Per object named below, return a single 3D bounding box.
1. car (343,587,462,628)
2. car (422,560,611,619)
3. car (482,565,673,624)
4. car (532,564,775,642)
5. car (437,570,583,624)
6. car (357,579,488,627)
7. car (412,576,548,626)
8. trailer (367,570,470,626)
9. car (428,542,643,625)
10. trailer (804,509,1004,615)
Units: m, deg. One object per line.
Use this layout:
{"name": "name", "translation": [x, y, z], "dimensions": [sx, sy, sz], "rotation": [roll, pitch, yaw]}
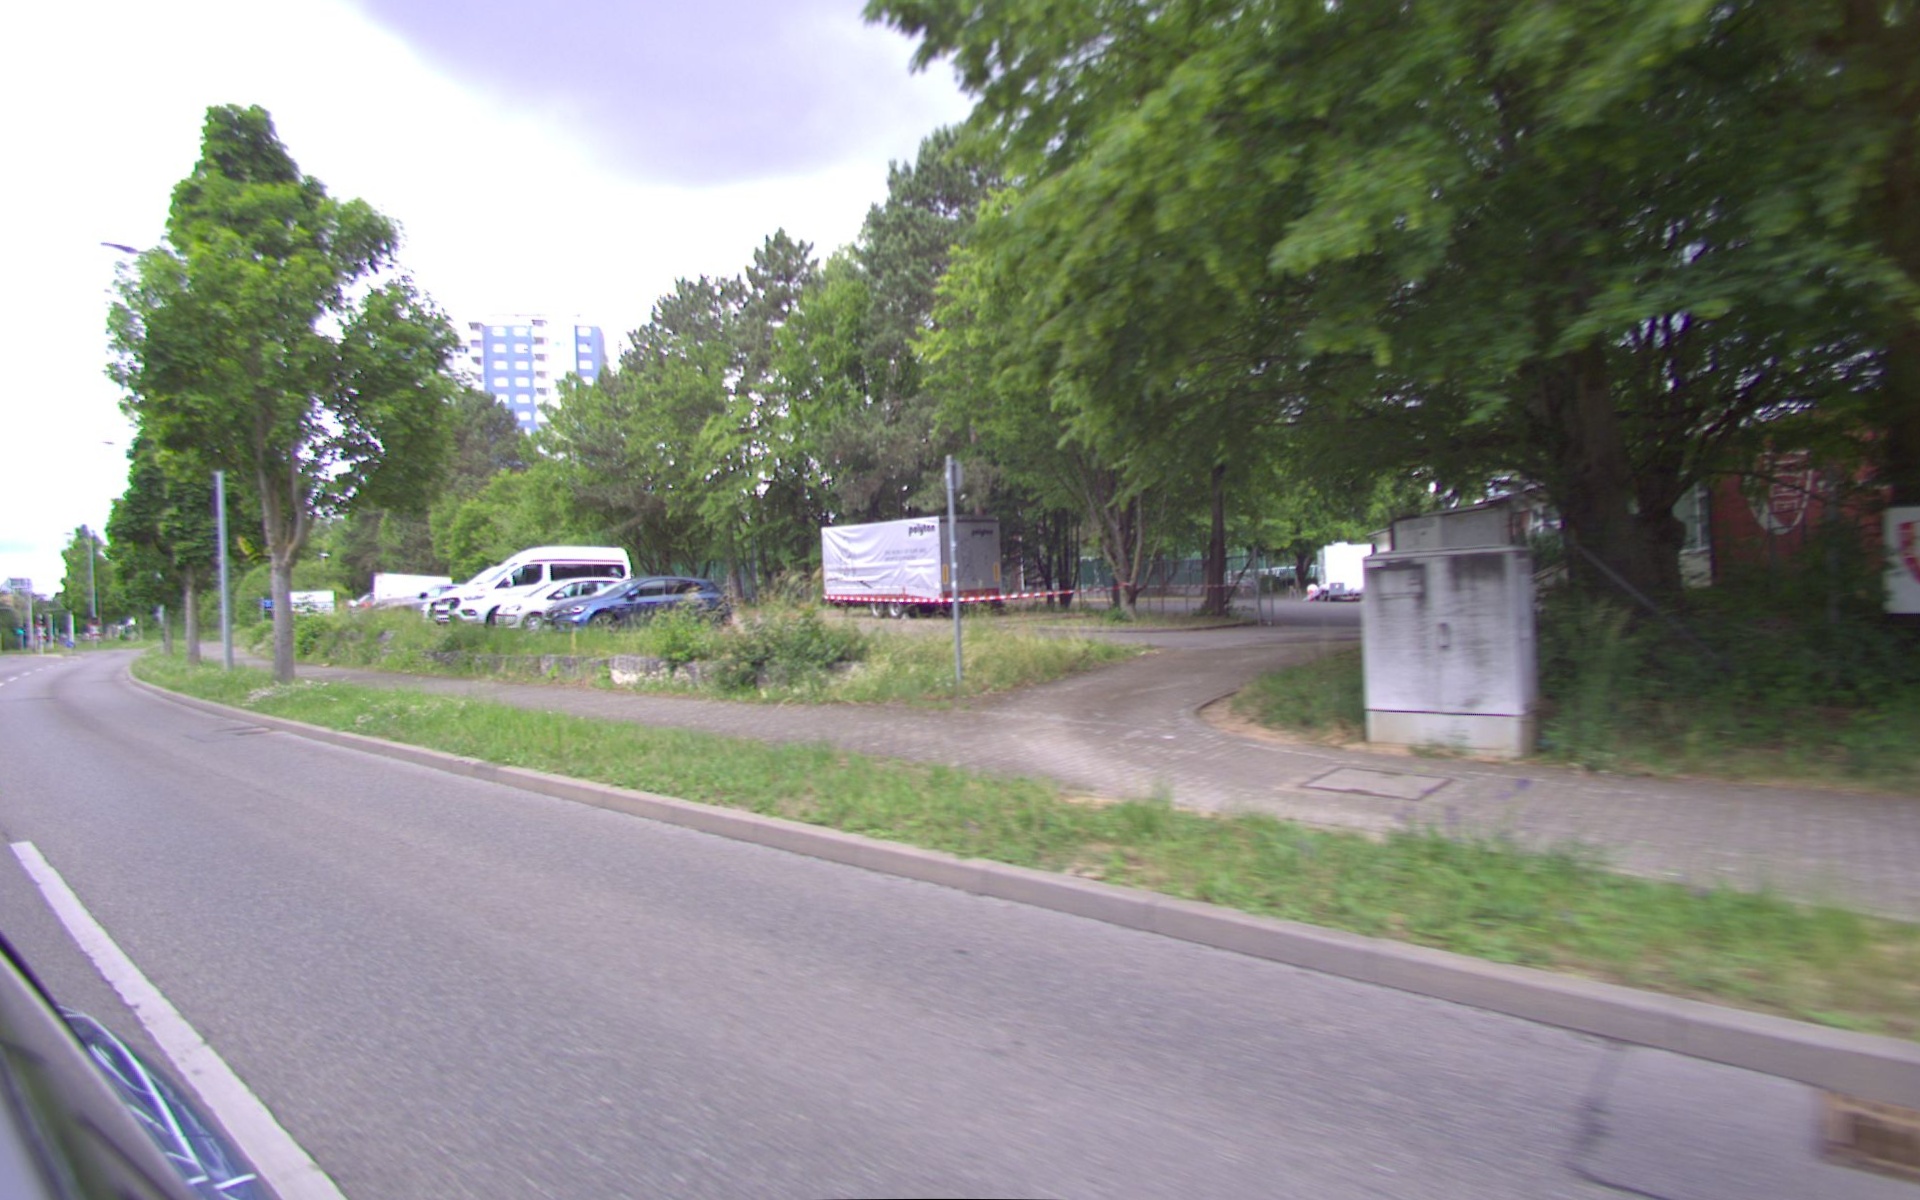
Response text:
{"name": "car", "translation": [-22.947, 0.301, 41.702], "dimensions": [3.982, 1.428, 2.004], "rotation": [-3, 0, -38]}
{"name": "car", "translation": [-13.565, -0.337, 31.087], "dimensions": [4.930, 1.559, 2.102], "rotation": [-3, 0, -38]}
{"name": "car", "translation": [-9.807, -0.169, 26.181], "dimensions": [4.325, 1.326, 1.565], "rotation": [-3, 0, -42]}
{"name": "car", "translation": [-7.061, 0.029, 23.715], "dimensions": [5.094, 1.573, 1.888], "rotation": [-3, 0, -42]}
{"name": "car", "translation": [-14.812, -0.100, 33.369], "dimensions": [3.982, 1.559, 2.004], "rotation": [-3, 0, -38]}
{"name": "car", "translation": [-19.984, 0.099, 37.651], "dimensions": [3.982, 1.596, 2.004], "rotation": [-3, 0, -38]}
{"name": "car", "translation": [-16.874, 0.019, 35.654], "dimensions": [3.982, 1.523, 1.784], "rotation": [-3, 0, -38]}
{"name": "trailer", "translation": [-21.330, -0.096, 39.885], "dimensions": [3.322, 2.074, 1.682], "rotation": [-2, -1, -37]}
{"name": "car", "translation": [-11.885, -0.501, 28.569], "dimensions": [5.094, 2.122, 2.217], "rotation": [-3, 0, -42]}
{"name": "trailer", "translation": [-2.012, -1.145, 33.253], "dimensions": [2.616, 3.097, 7.206], "rotation": [-3, 2, -41]}
